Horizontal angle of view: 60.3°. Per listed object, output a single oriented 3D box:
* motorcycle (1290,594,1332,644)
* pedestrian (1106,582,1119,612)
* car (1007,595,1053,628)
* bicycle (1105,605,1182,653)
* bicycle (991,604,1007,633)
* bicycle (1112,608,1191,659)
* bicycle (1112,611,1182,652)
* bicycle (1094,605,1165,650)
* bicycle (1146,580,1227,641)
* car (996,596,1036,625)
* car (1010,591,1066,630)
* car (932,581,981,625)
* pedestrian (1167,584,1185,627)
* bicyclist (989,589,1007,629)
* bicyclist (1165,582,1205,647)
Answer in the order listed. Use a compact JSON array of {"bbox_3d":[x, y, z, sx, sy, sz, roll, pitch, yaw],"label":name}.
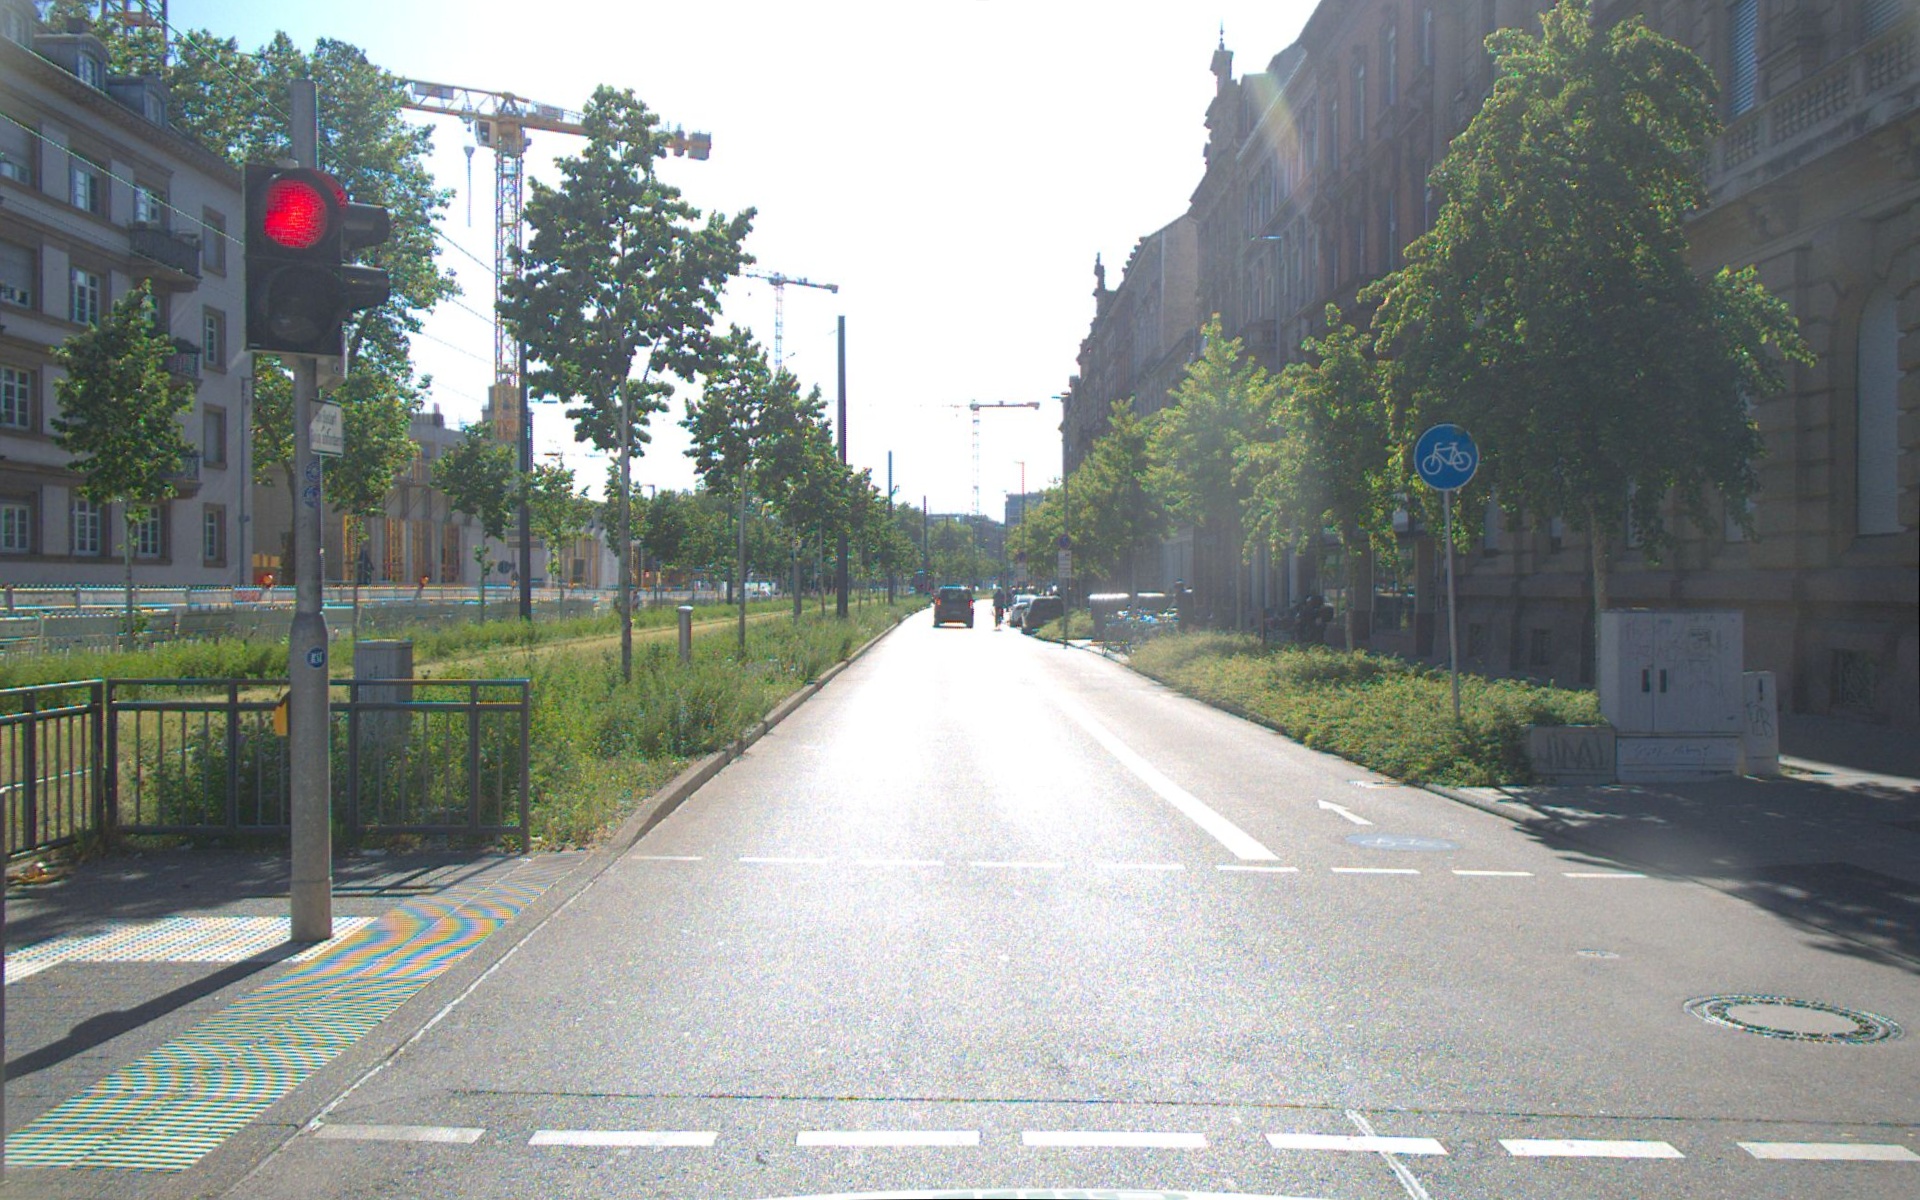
[{"bbox_3d":[9.395,0.498,44.297,0.686,1.289,1.981,0,0,-1],"label":"motorcycle"},{"bbox_3d":[8.443,-0.169,91.505,0.601,1.640,0.669,0,0,-1],"label":"pedestrian"},{"bbox_3d":[3.346,0.523,79.820,1.987,1.525,4.529,0,0,-1],"label":"car"},{"bbox_3d":[4.539,0.716,40.965,1.756,1.048,0.527,-4,0,-1],"label":"bicycle"},{"bbox_3d":[1.689,0.807,72.050,0.589,1.201,1.869,2,0,-1],"label":"bicycle"},{"bbox_3d":[4.570,0.796,39.592,1.756,1.048,0.527,-4,0,-1],"label":"bicycle"},{"bbox_3d":[4.805,0.808,42.537,1.756,1.048,0.527,0,0,-1],"label":"bicycle"},{"bbox_3d":[4.505,0.731,43.963,1.756,1.048,0.527,-4,0,-1],"label":"bicycle"},{"bbox_3d":[5.630,0.262,41.193,1.856,1.353,0.617,-4,0,-1],"label":"bicycle"},{"bbox_3d":[3.100,0.569,92.343,1.987,1.525,4.529,0,0,-1],"label":"car"},{"bbox_3d":[3.142,0.414,67.433,1.987,1.525,4.653,0,0,-1],"label":"car"},{"bbox_3d":[-0.201,0.138,76.362,2.155,1.960,4.653,0,0,-1],"label":"car"},{"bbox_3d":[8.401,0.209,64.242,0.601,1.640,0.669,0,0,-1],"label":"pedestrian"},{"bbox_3d":[1.650,0.391,72.203,0.670,1.702,0.922,2,0,-2],"label":"bicyclist"},{"bbox_3d":[5.594,0.352,41.179,0.782,1.556,0.662,-4,0,-1],"label":"bicyclist"}]
